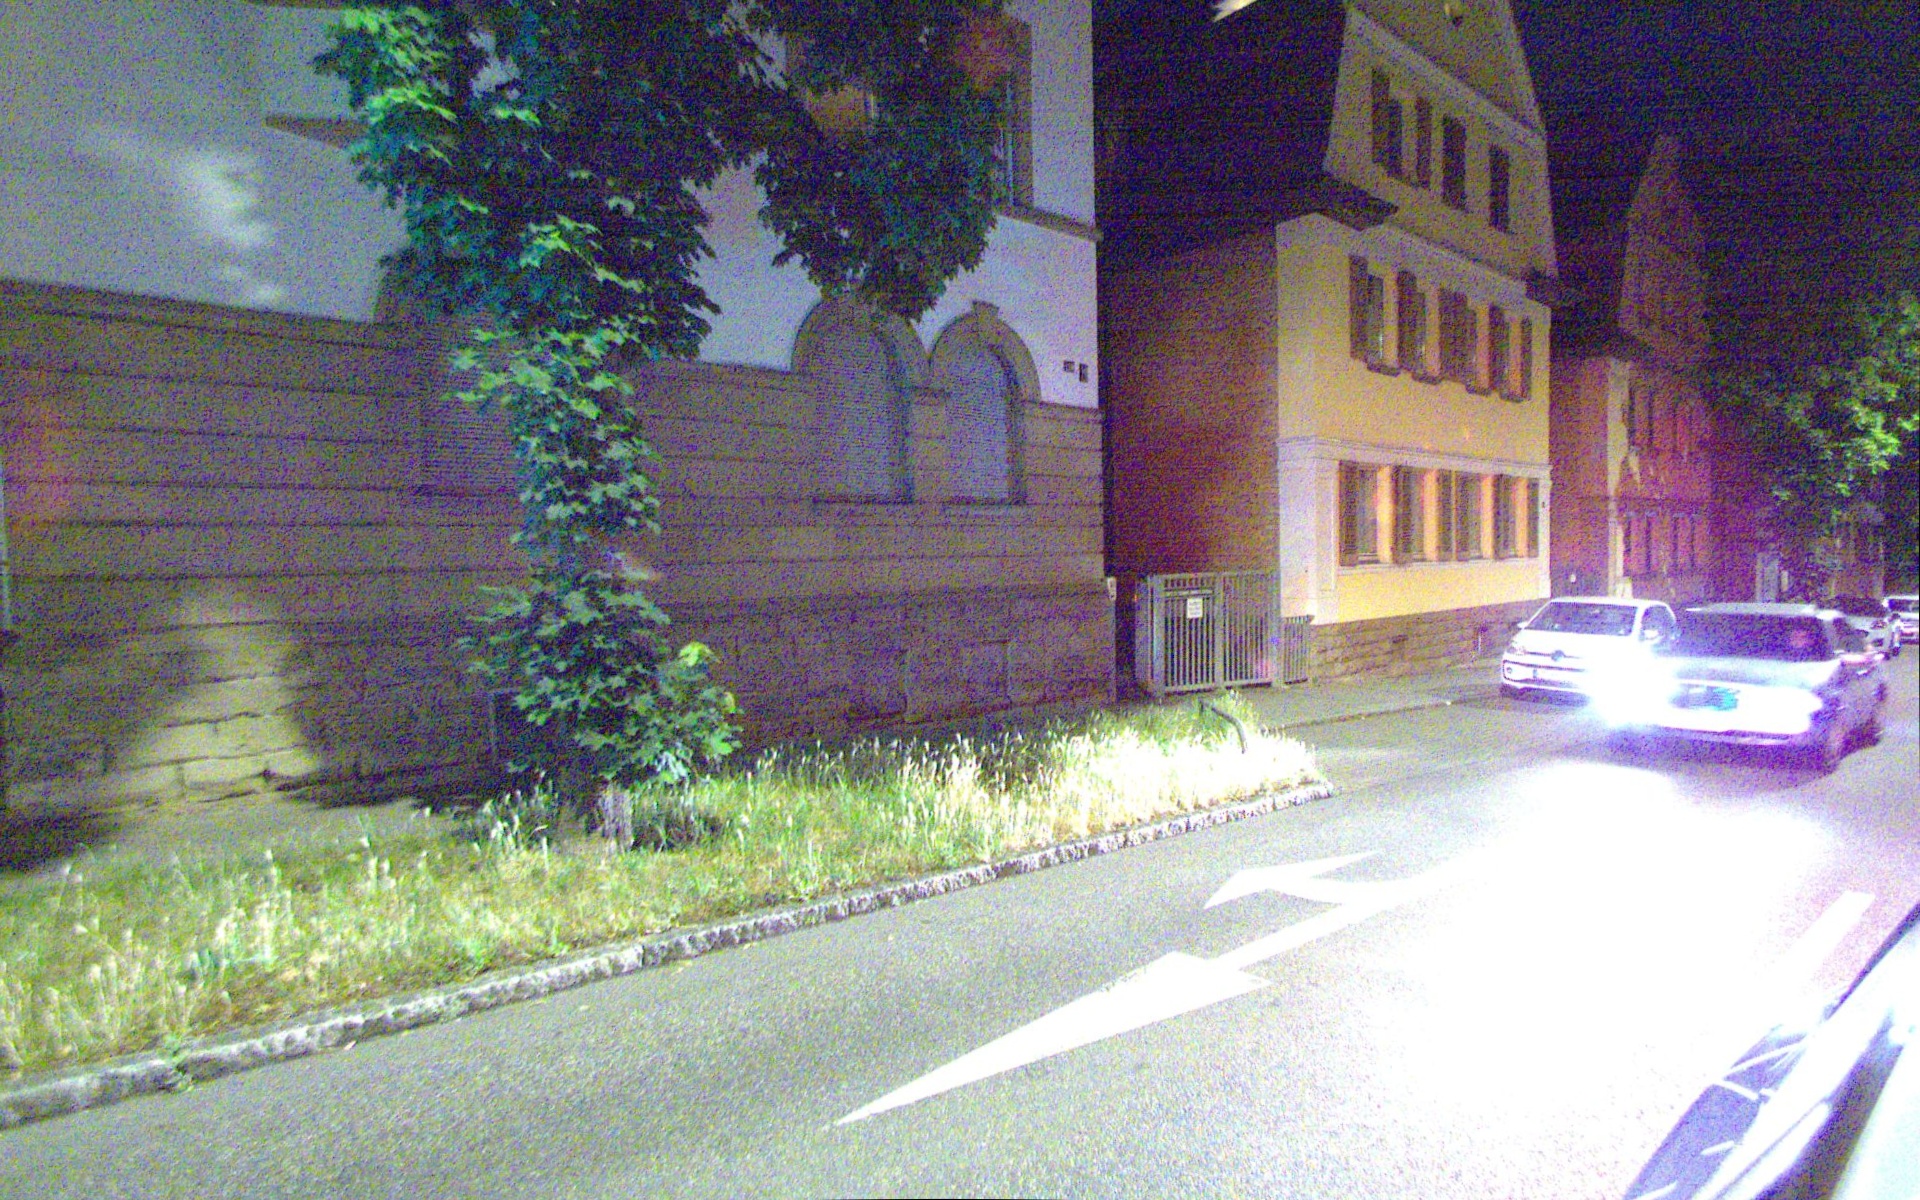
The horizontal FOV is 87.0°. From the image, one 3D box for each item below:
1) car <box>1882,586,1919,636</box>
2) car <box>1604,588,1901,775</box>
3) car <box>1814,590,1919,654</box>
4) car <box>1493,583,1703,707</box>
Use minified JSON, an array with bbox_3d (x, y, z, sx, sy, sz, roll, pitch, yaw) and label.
[{"bbox_3d":[33.546,0.366,35.140,4.107,1.673,1.850,0,0,-42],"label":"car"},{"bbox_3d":[8.070,0.641,10.175,3.933,1.505,1.778,-1,0,-43],"label":"car"},{"bbox_3d":[23.622,0.506,26.283,3.824,1.516,1.740,0,2,-43],"label":"car"},{"bbox_3d":[9.233,0.564,14.564,3.425,1.527,1.610,0,2,-41],"label":"car"}]
